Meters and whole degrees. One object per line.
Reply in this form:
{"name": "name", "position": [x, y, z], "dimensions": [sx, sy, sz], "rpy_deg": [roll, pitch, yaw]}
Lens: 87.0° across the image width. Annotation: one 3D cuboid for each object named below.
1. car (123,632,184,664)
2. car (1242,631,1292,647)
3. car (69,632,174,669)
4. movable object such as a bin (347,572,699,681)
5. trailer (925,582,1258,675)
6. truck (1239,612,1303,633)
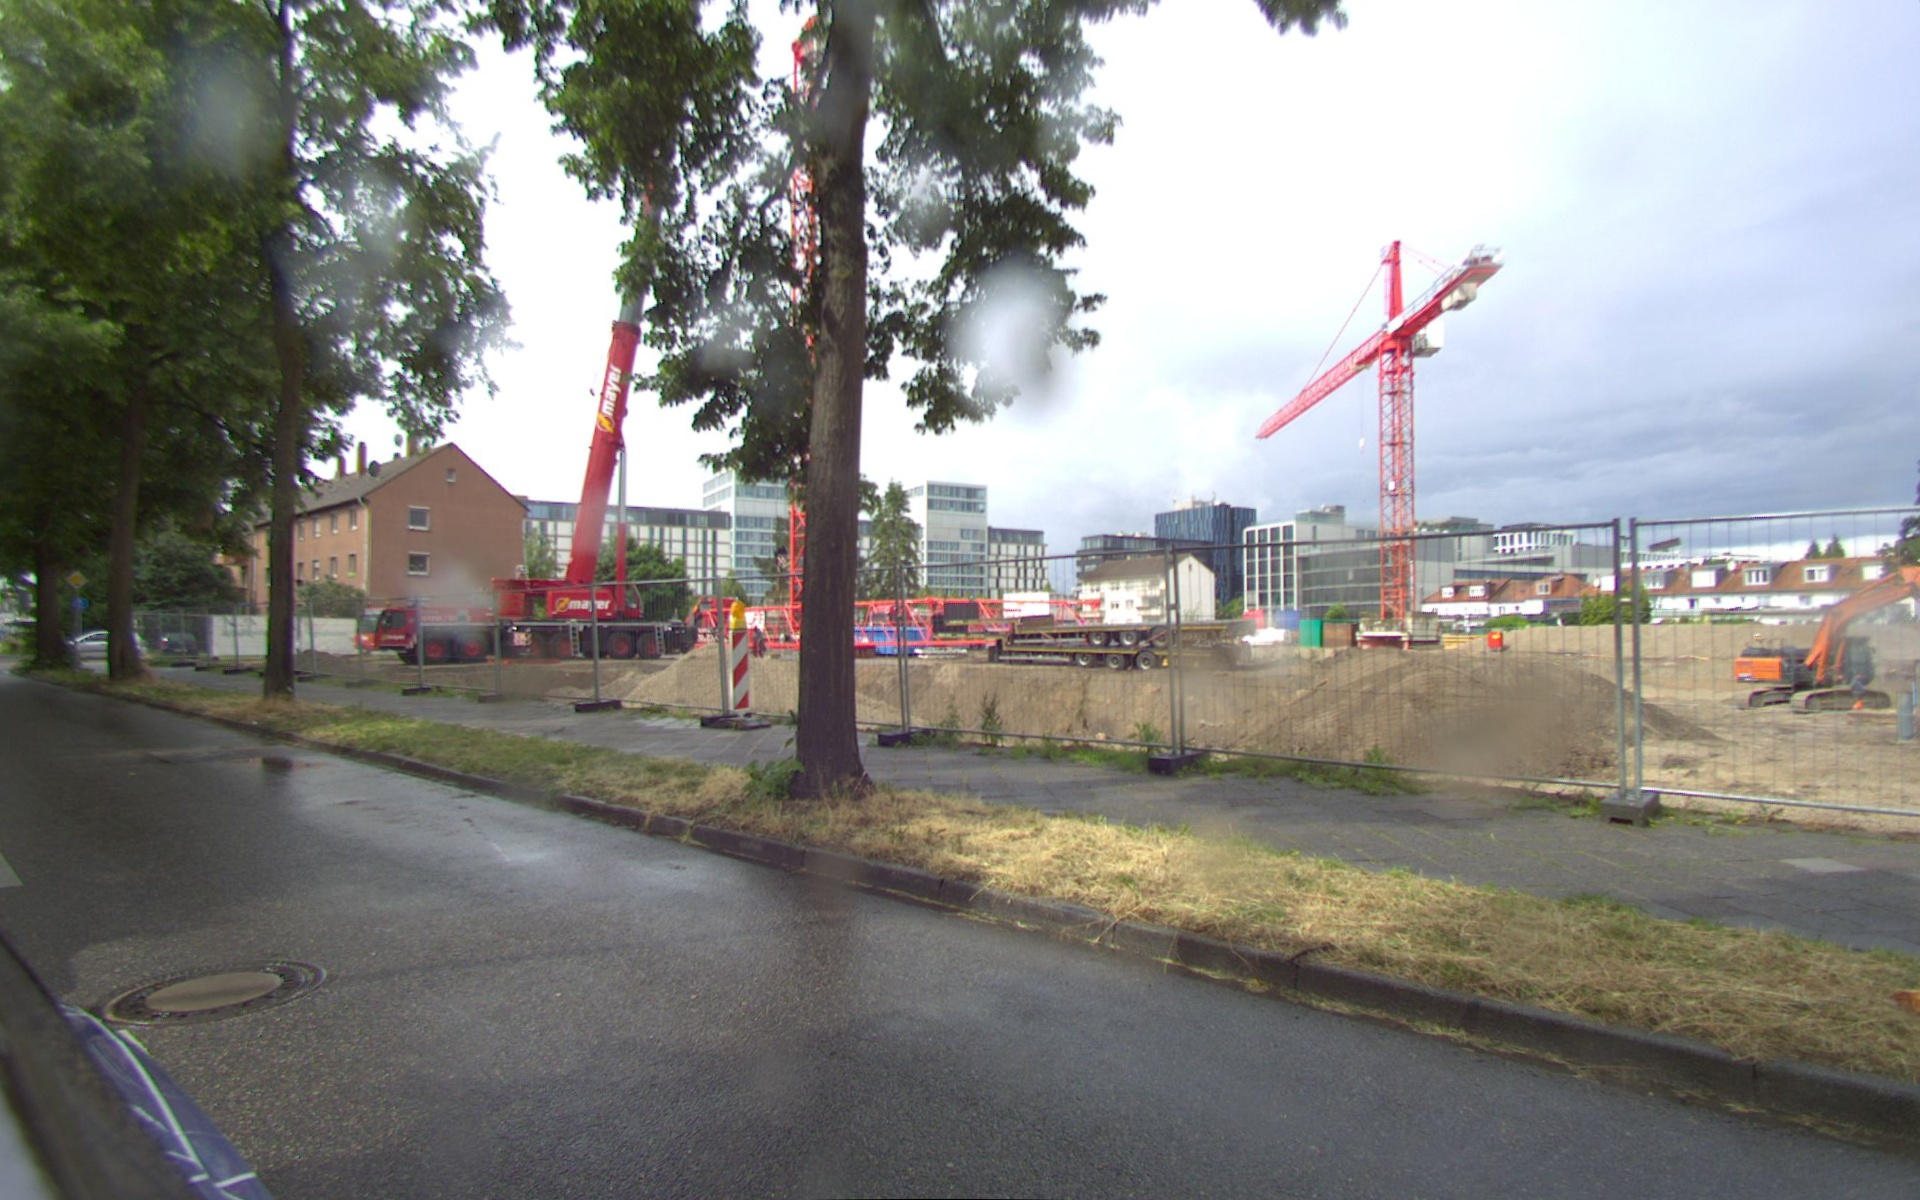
{"name": "car", "position": [-42.197, 2.474, 52.925], "dimensions": [3.996, 1.541, 1.672], "rpy_deg": [-1, 0, 39]}
{"name": "car", "position": [31.074, 3.959, 102.591], "dimensions": [4.582, 1.529, 1.797], "rpy_deg": [-1, 0, 44]}
{"name": "car", "position": [-39.882, 2.372, 48.228], "dimensions": [3.811, 1.564, 1.701], "rpy_deg": [-1, 0, -39]}
{"name": "movable object such as a bin", "position": [-20.454, 1.062, 49.213], "dimensions": [3.102, 4.592, 15.727], "rpy_deg": [-1, 0, 44]}
{"name": "trailer", "position": [4.824, 1.088, 41.617], "dimensions": [14.302, 3.257, 2.930], "rpy_deg": [-1, 1, 41]}
{"name": "truck", "position": [32.929, 2.368, 107.336], "dimensions": [6.292, 2.095, 1.884], "rpy_deg": [-1, 0, 25]}
